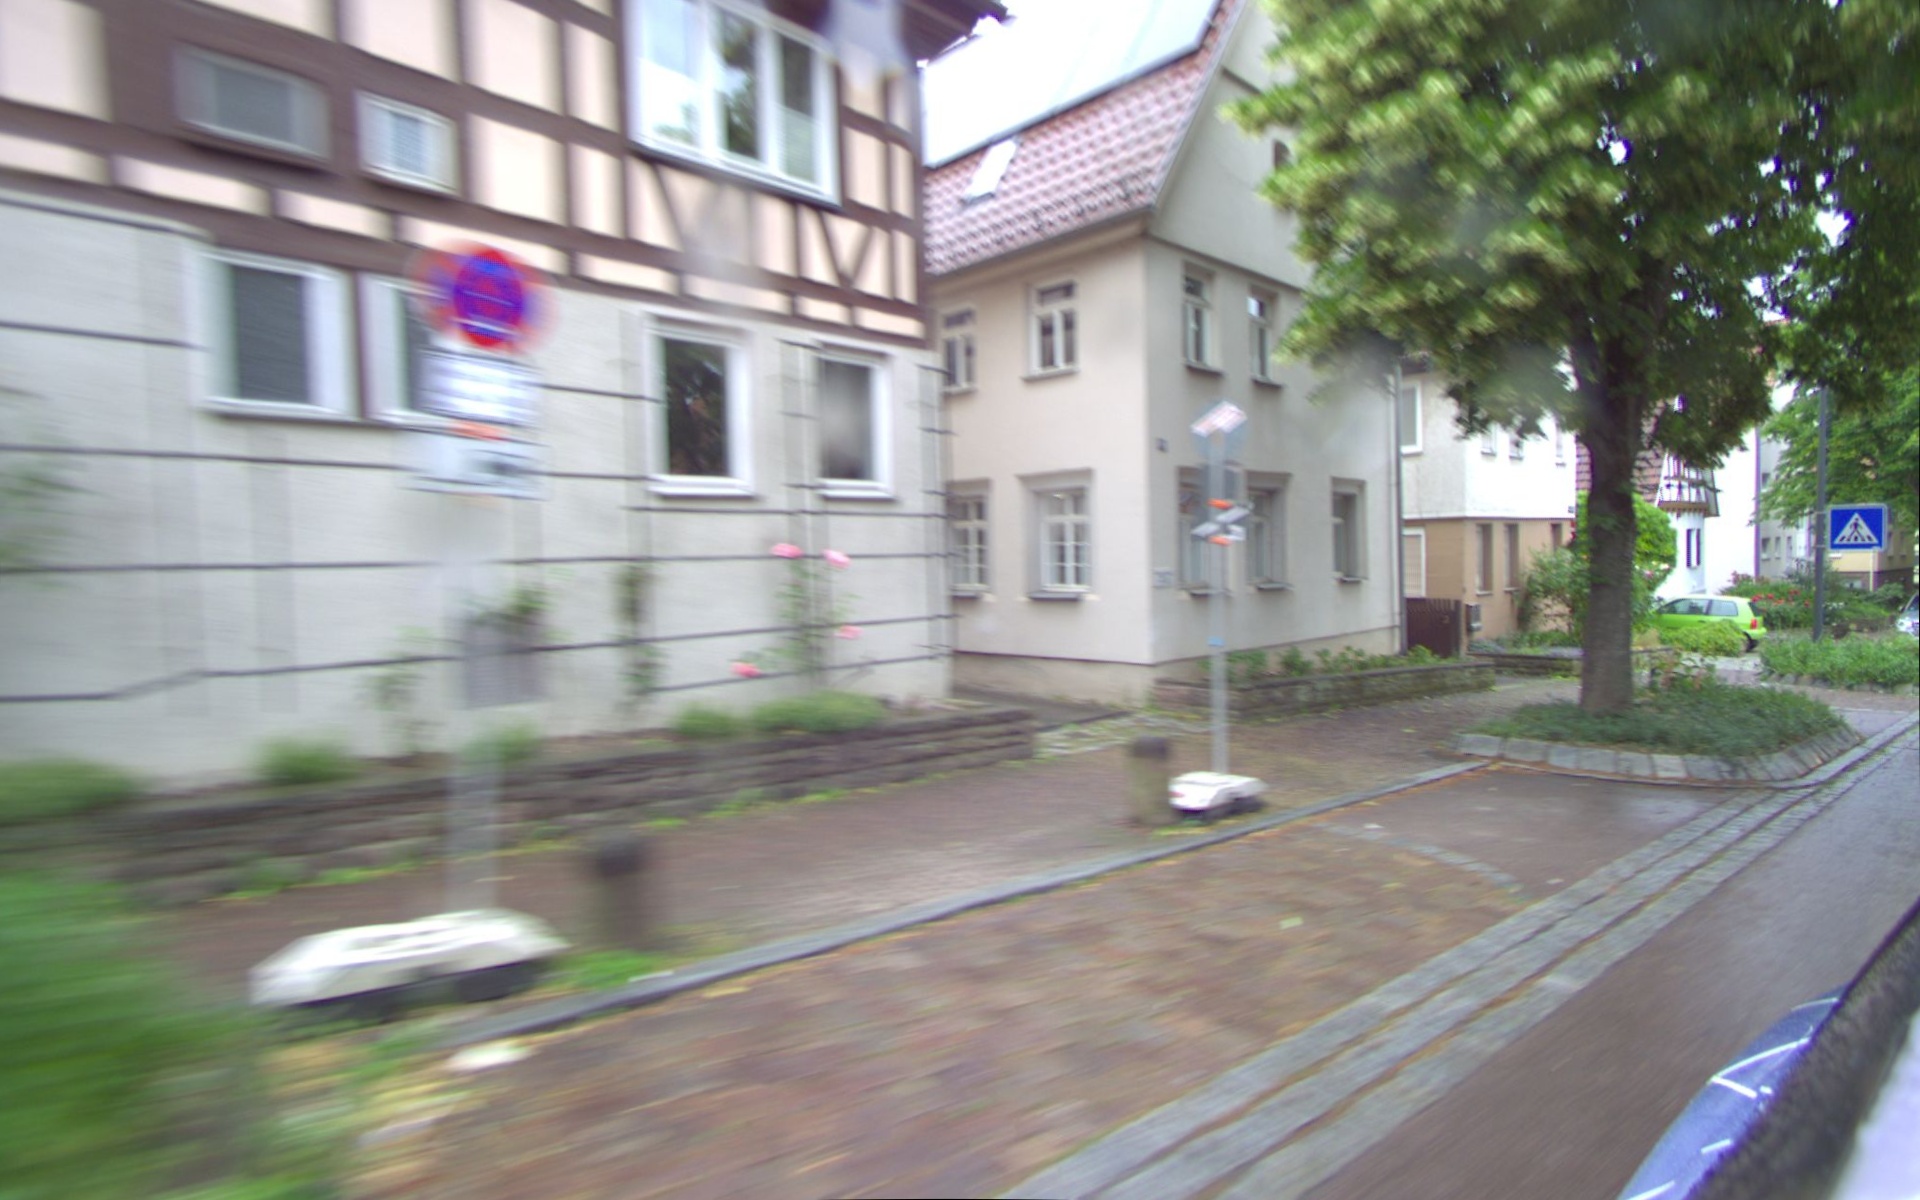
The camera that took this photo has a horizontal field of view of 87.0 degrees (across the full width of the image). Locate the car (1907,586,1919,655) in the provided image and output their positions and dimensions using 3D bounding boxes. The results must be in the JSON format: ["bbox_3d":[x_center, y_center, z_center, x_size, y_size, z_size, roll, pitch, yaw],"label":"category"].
[{"bbox_3d":[27.438,0.545,27.630,4.410,1.815,1.917,0,1,-41],"label":"car"}]

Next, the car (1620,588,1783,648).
[{"bbox_3d":[20.415,0.441,27.937,1.604,1.448,3.368,0,3,-44],"label":"car"}]
